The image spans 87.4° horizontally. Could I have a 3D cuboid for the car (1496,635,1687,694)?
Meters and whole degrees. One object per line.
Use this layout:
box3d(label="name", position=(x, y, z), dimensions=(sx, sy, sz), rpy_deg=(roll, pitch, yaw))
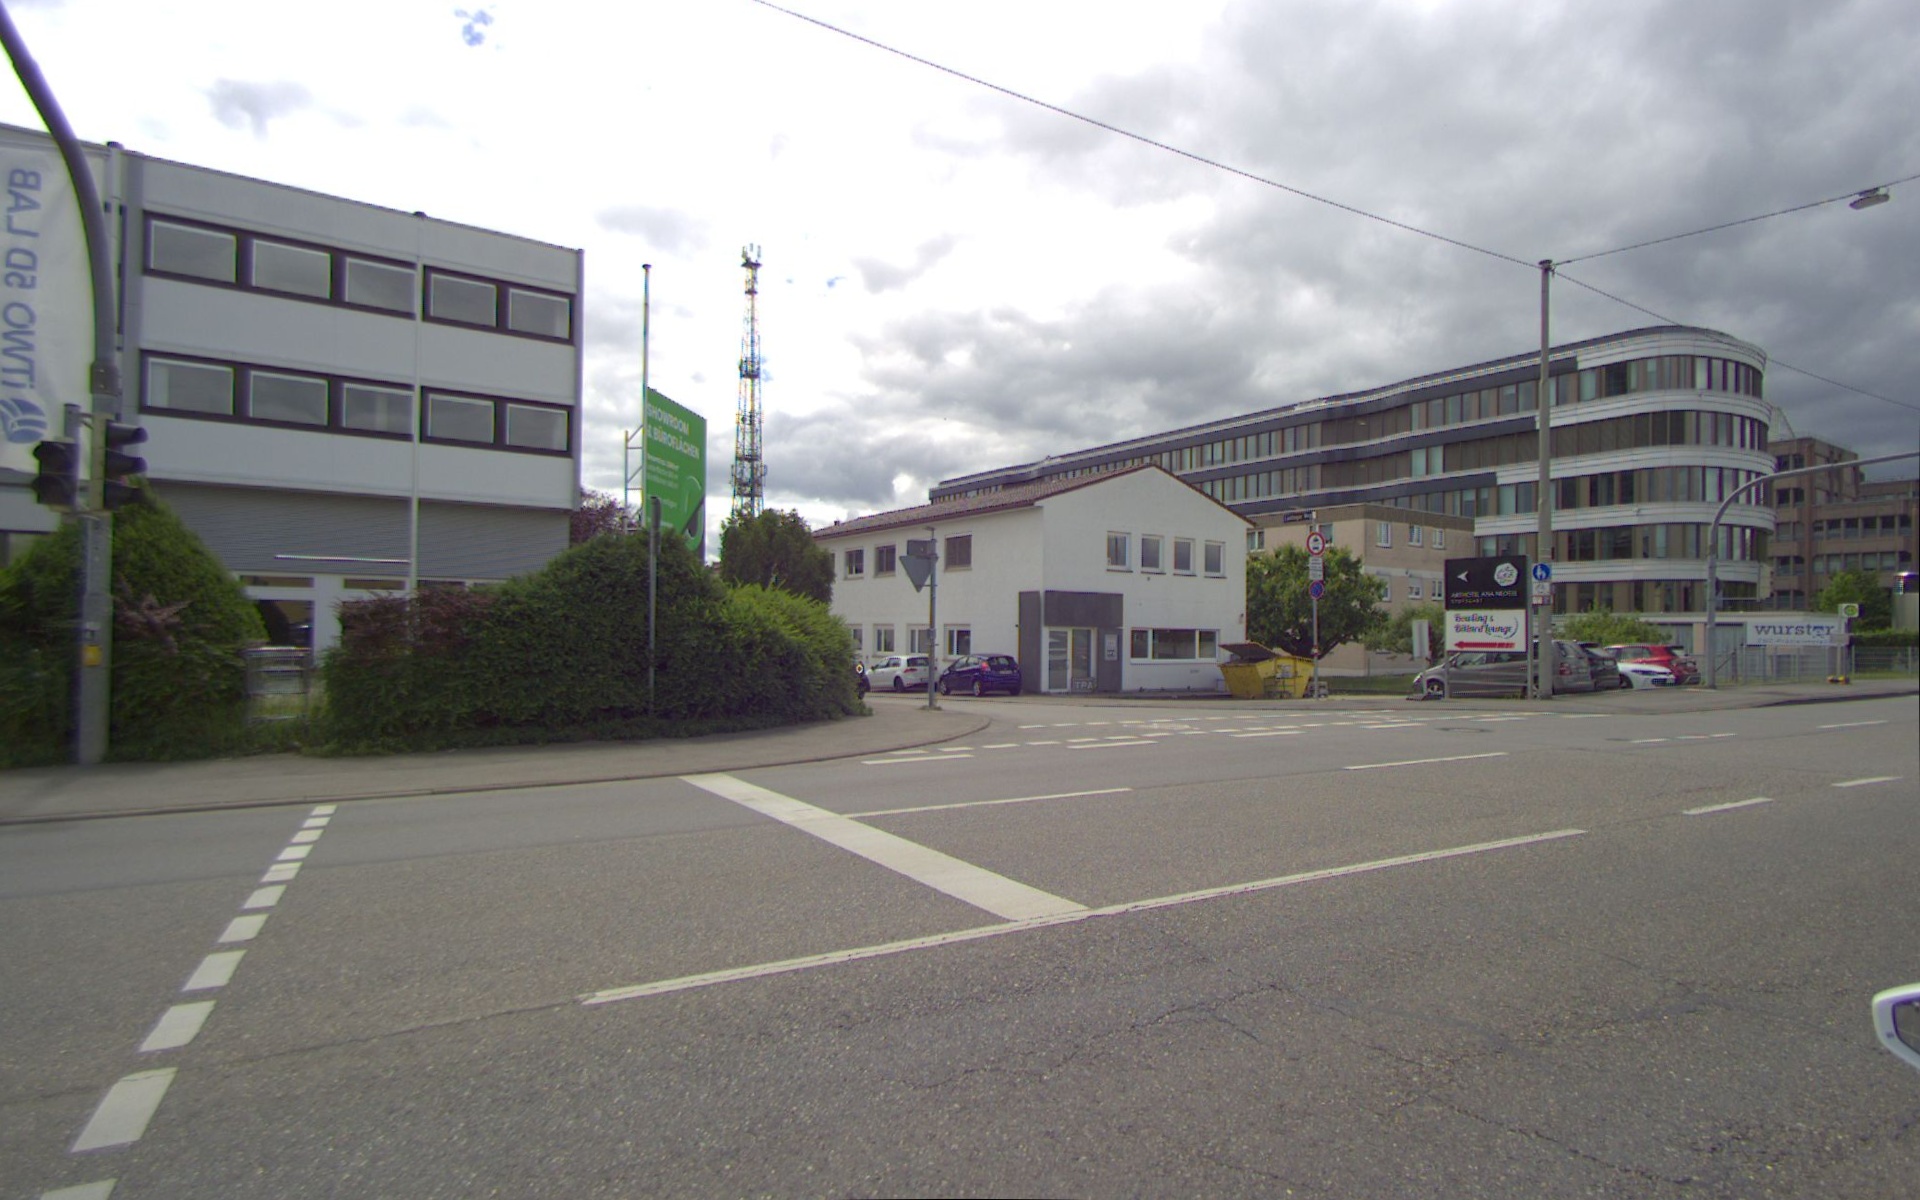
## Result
box3d(label="car", position=(18.273, 1.937, 29.245), dimensions=(1.965, 1.404, 4.198), rpy_deg=(3, -8, -35))

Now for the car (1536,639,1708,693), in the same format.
box3d(label="car", position=(20.337, 2.074, 31.006), dimensions=(1.828, 1.386, 3.969), rpy_deg=(2, -8, -32))

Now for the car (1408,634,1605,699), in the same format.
box3d(label="car", position=(14.292, 1.783, 26.470), dimensions=(1.891, 1.415, 4.066), rpy_deg=(1, -7, -37))

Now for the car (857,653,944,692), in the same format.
box3d(label="car", position=(-2.483, 2.939, 40.833), dimensions=(1.791, 1.438, 3.904), rpy_deg=(0, -3, -34))

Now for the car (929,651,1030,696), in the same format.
box3d(label="car", position=(0.627, 2.580, 35.573), dimensions=(1.789, 1.438, 3.910), rpy_deg=(0, -3, -30))

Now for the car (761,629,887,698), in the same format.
box3d(label="car", position=(-4.138, 1.942, 29.907), dimensions=(2.144, 1.816, 4.737), rpy_deg=(4, -6, -28))

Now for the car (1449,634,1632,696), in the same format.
box3d(label="car", position=(16.172, 1.884, 28.176), dimensions=(1.835, 1.442, 3.969), rpy_deg=(2, -8, -32))
